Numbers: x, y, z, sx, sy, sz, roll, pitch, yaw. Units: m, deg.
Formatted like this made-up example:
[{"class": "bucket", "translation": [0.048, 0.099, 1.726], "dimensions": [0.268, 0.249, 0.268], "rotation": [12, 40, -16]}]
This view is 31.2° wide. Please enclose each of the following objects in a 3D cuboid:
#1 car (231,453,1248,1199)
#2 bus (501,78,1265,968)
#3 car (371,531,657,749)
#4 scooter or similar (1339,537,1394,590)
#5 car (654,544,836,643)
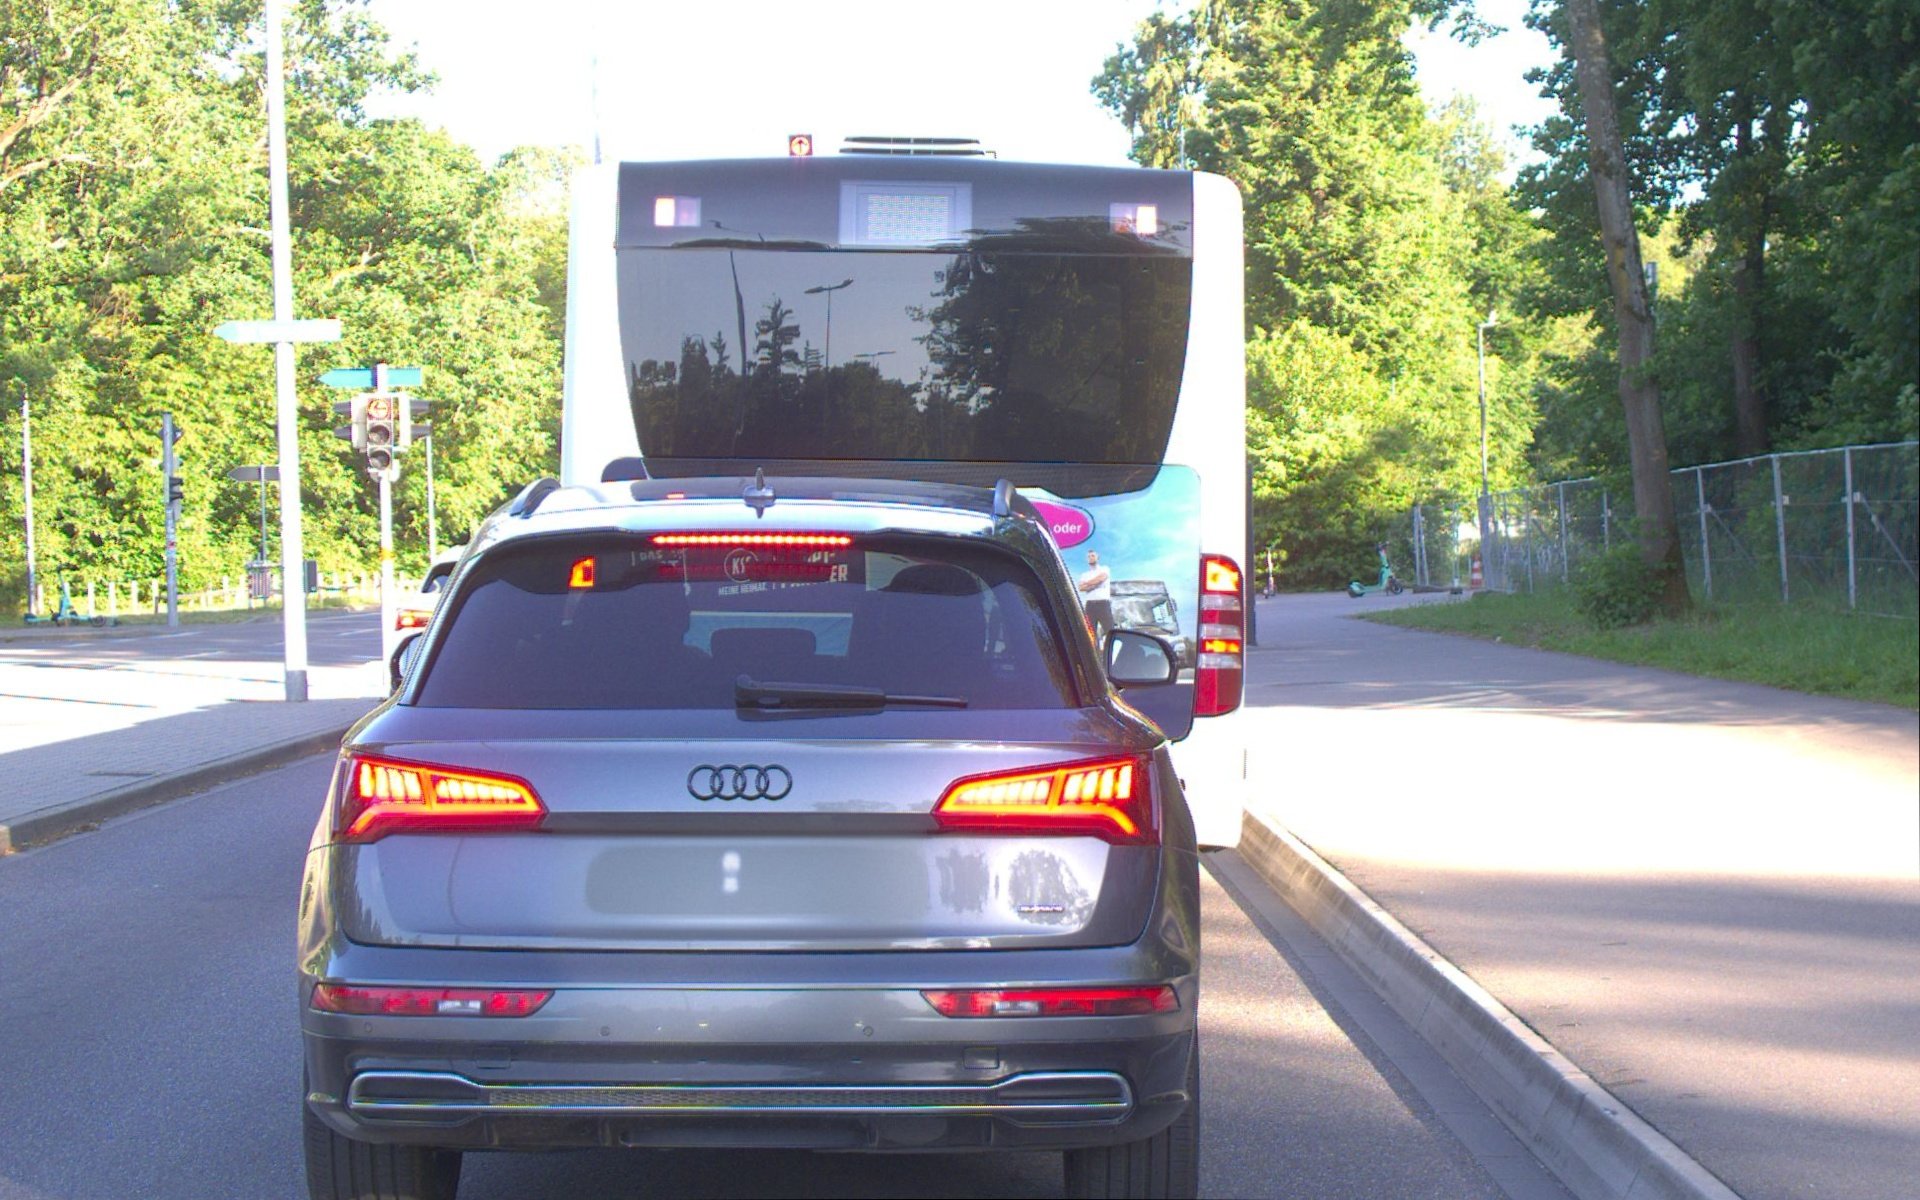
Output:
[{"class": "car", "translation": [-0.435, 0.514, 8.376], "dimensions": [1.868, 1.658, 4.000], "rotation": [1, 2, -1]}, {"class": "bus", "translation": [-0.245, -0.353, 15.177], "dimensions": [2.678, 3.131, 5.882], "rotation": [1, 2, 1]}, {"class": "car", "translation": [-3.495, 0.256, 27.581], "dimensions": [1.808, 1.567, 4.000], "rotation": [1, 2, -1]}, {"class": "scooter or similar", "translation": [9.221, -0.826, 77.976], "dimensions": [1.184, 1.170, 0.659], "rotation": [1, 1, 11]}, {"class": "car", "translation": [-3.740, -0.130, 60.568], "dimensions": [1.995, 1.646, 4.325], "rotation": [1, 1, 14]}]
